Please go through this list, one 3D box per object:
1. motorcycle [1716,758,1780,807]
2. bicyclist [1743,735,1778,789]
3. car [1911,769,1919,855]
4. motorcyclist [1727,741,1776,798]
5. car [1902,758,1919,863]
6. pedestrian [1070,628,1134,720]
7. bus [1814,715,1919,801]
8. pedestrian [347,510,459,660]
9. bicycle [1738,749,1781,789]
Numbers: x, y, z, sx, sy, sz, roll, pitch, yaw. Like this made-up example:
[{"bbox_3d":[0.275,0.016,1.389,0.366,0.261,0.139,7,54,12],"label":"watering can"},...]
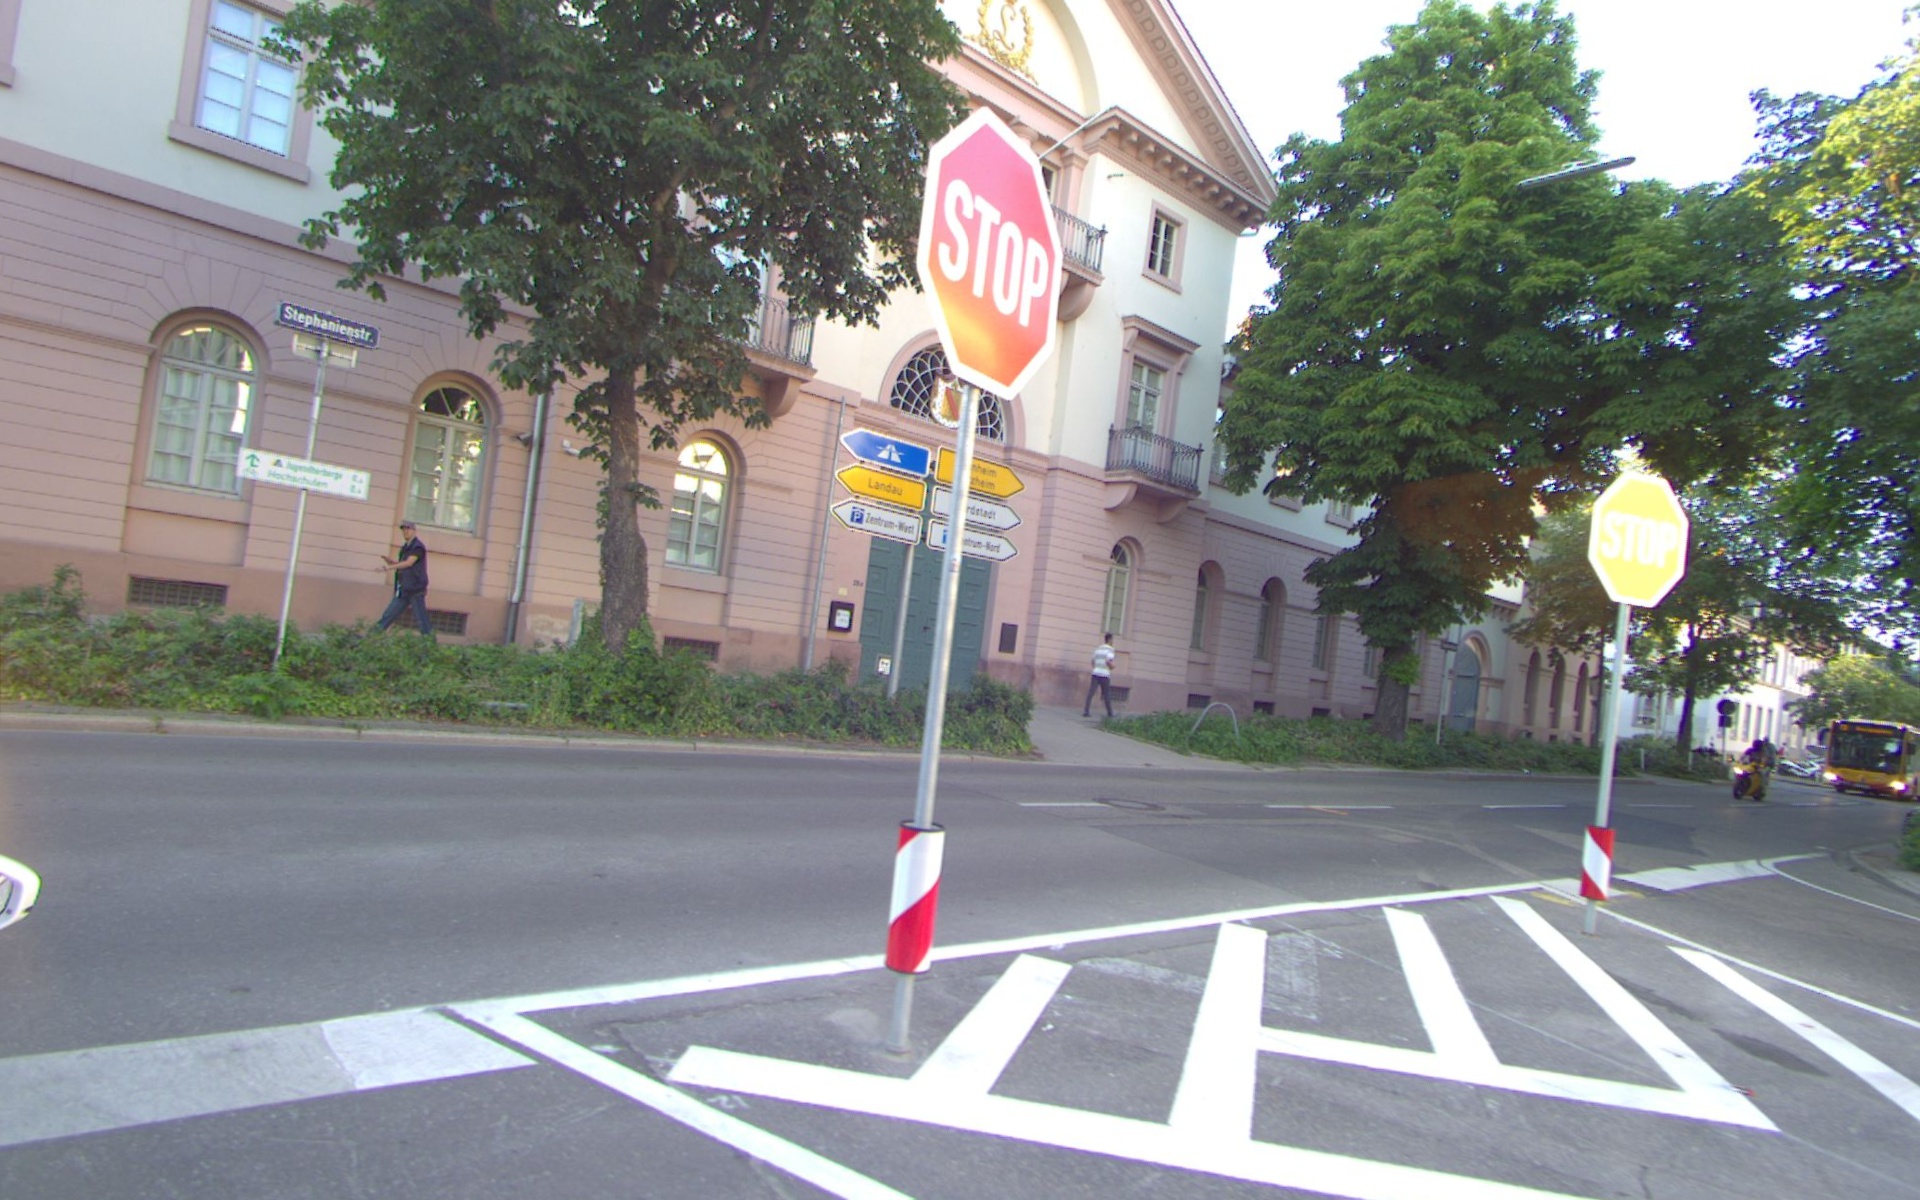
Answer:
[{"bbox_3d":[21.750,5.048,27.764,1.949,1.173,0.786,8,-3,-35],"label":"motorcycle"},{"bbox_3d":[29.738,6.023,37.376,0.820,1.860,0.776,8,-3,-39],"label":"bicyclist"},{"bbox_3d":[18.734,3.861,16.756,1.711,1.634,3.956,9,-2,-40],"label":"car"},{"bbox_3d":[21.938,4.701,27.884,0.692,1.436,0.787,8,-2,-33],"label":"motorcyclist"},{"bbox_3d":[17.017,3.549,15.076,1.816,1.634,3.956,9,-2,-40],"label":"car"},{"bbox_3d":[3.088,1.607,21.869,0.790,1.853,0.925,6,-1,44],"label":"pedestrian"},{"bbox_3d":[40.493,7.014,43.883,11.993,3.033,2.686,9,-4,-39],"label":"bus"},{"bbox_3d":[-7.601,-0.195,13.730,1.073,1.860,0.793,8,-1,-35],"label":"pedestrian"},{"bbox_3d":[29.738,6.289,37.387,2.063,1.344,0.776,9,-4,-39],"label":"bicycle"}]
